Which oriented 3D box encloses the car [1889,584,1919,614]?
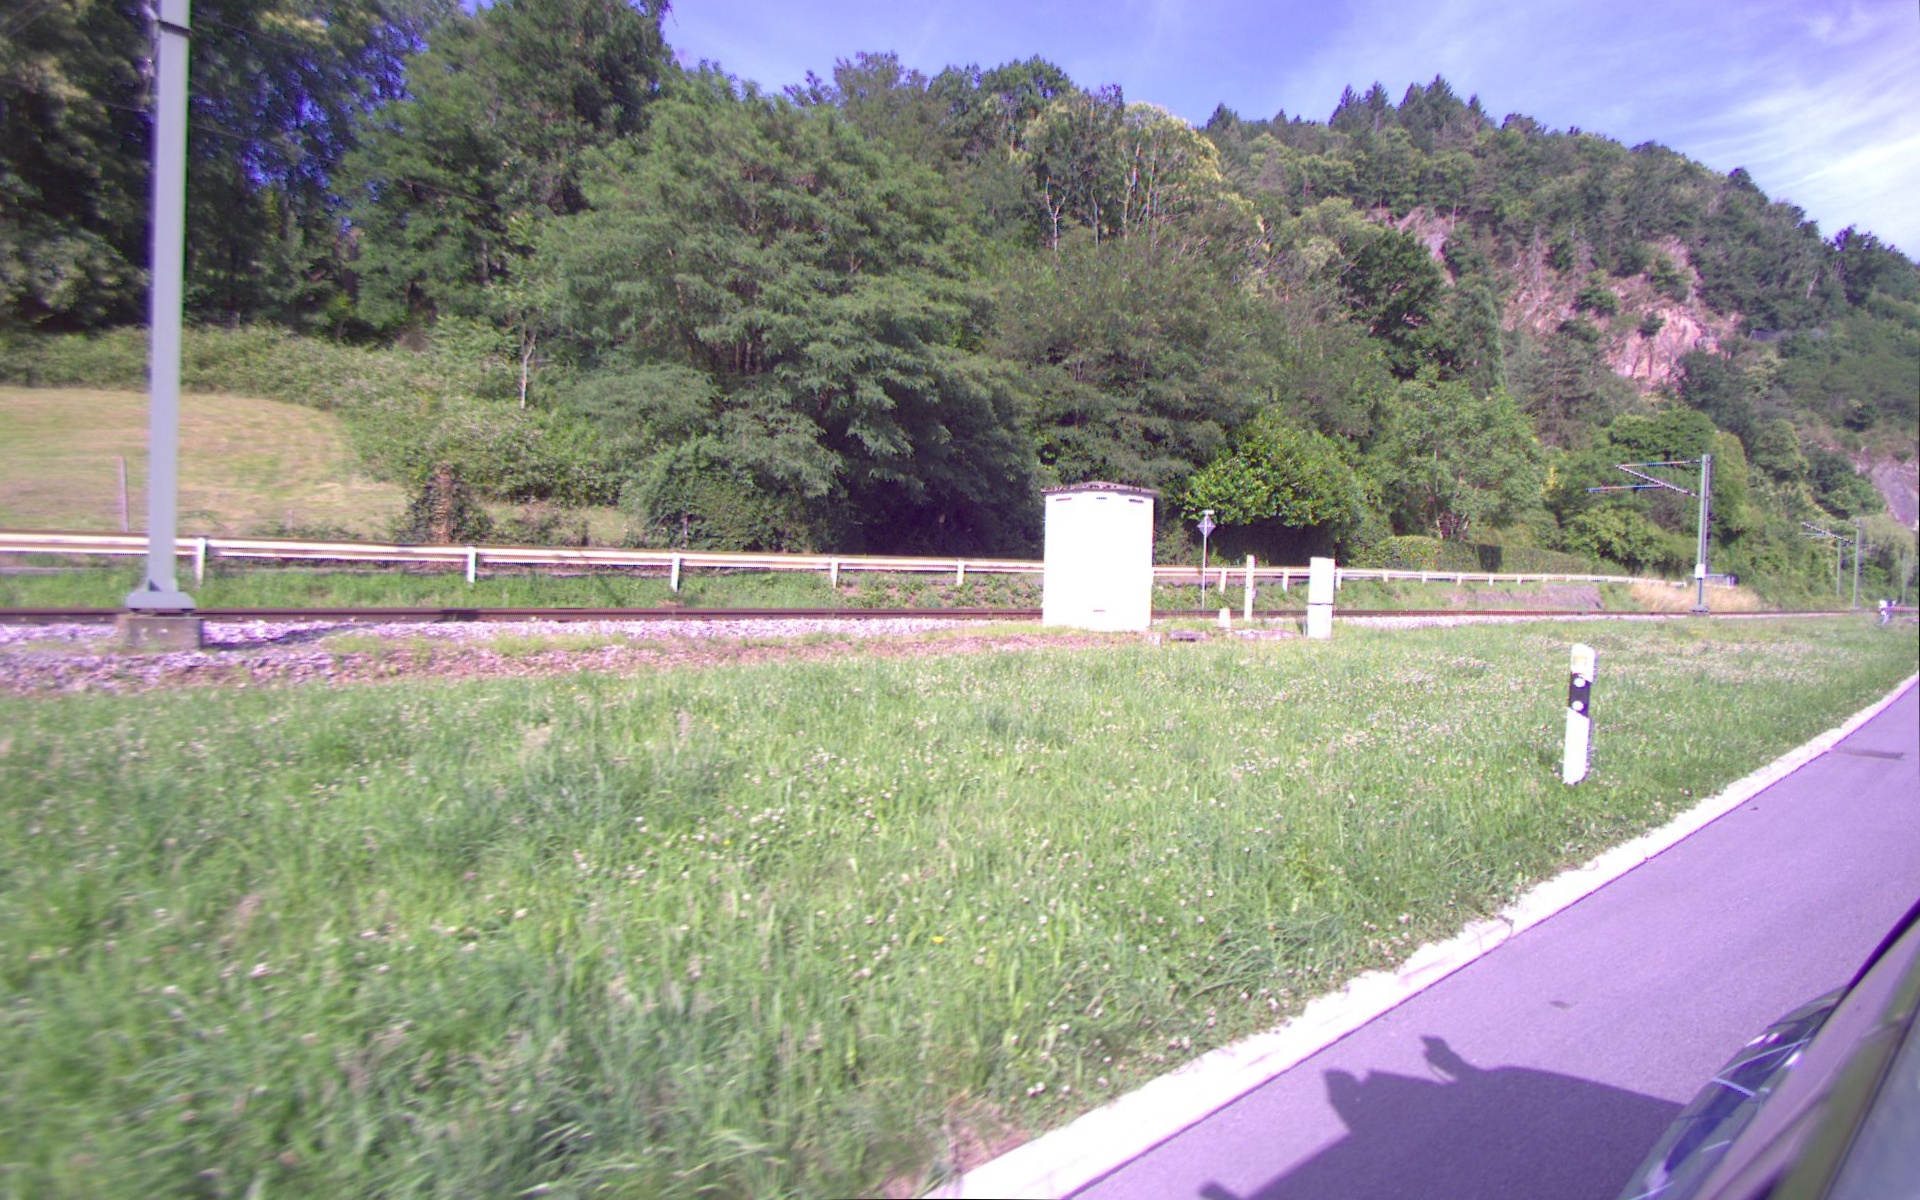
[{"bbox_3d":[70.511,-0.087,75.147,1.995,2.038,3.936,5,4,44],"label":"car"}]
